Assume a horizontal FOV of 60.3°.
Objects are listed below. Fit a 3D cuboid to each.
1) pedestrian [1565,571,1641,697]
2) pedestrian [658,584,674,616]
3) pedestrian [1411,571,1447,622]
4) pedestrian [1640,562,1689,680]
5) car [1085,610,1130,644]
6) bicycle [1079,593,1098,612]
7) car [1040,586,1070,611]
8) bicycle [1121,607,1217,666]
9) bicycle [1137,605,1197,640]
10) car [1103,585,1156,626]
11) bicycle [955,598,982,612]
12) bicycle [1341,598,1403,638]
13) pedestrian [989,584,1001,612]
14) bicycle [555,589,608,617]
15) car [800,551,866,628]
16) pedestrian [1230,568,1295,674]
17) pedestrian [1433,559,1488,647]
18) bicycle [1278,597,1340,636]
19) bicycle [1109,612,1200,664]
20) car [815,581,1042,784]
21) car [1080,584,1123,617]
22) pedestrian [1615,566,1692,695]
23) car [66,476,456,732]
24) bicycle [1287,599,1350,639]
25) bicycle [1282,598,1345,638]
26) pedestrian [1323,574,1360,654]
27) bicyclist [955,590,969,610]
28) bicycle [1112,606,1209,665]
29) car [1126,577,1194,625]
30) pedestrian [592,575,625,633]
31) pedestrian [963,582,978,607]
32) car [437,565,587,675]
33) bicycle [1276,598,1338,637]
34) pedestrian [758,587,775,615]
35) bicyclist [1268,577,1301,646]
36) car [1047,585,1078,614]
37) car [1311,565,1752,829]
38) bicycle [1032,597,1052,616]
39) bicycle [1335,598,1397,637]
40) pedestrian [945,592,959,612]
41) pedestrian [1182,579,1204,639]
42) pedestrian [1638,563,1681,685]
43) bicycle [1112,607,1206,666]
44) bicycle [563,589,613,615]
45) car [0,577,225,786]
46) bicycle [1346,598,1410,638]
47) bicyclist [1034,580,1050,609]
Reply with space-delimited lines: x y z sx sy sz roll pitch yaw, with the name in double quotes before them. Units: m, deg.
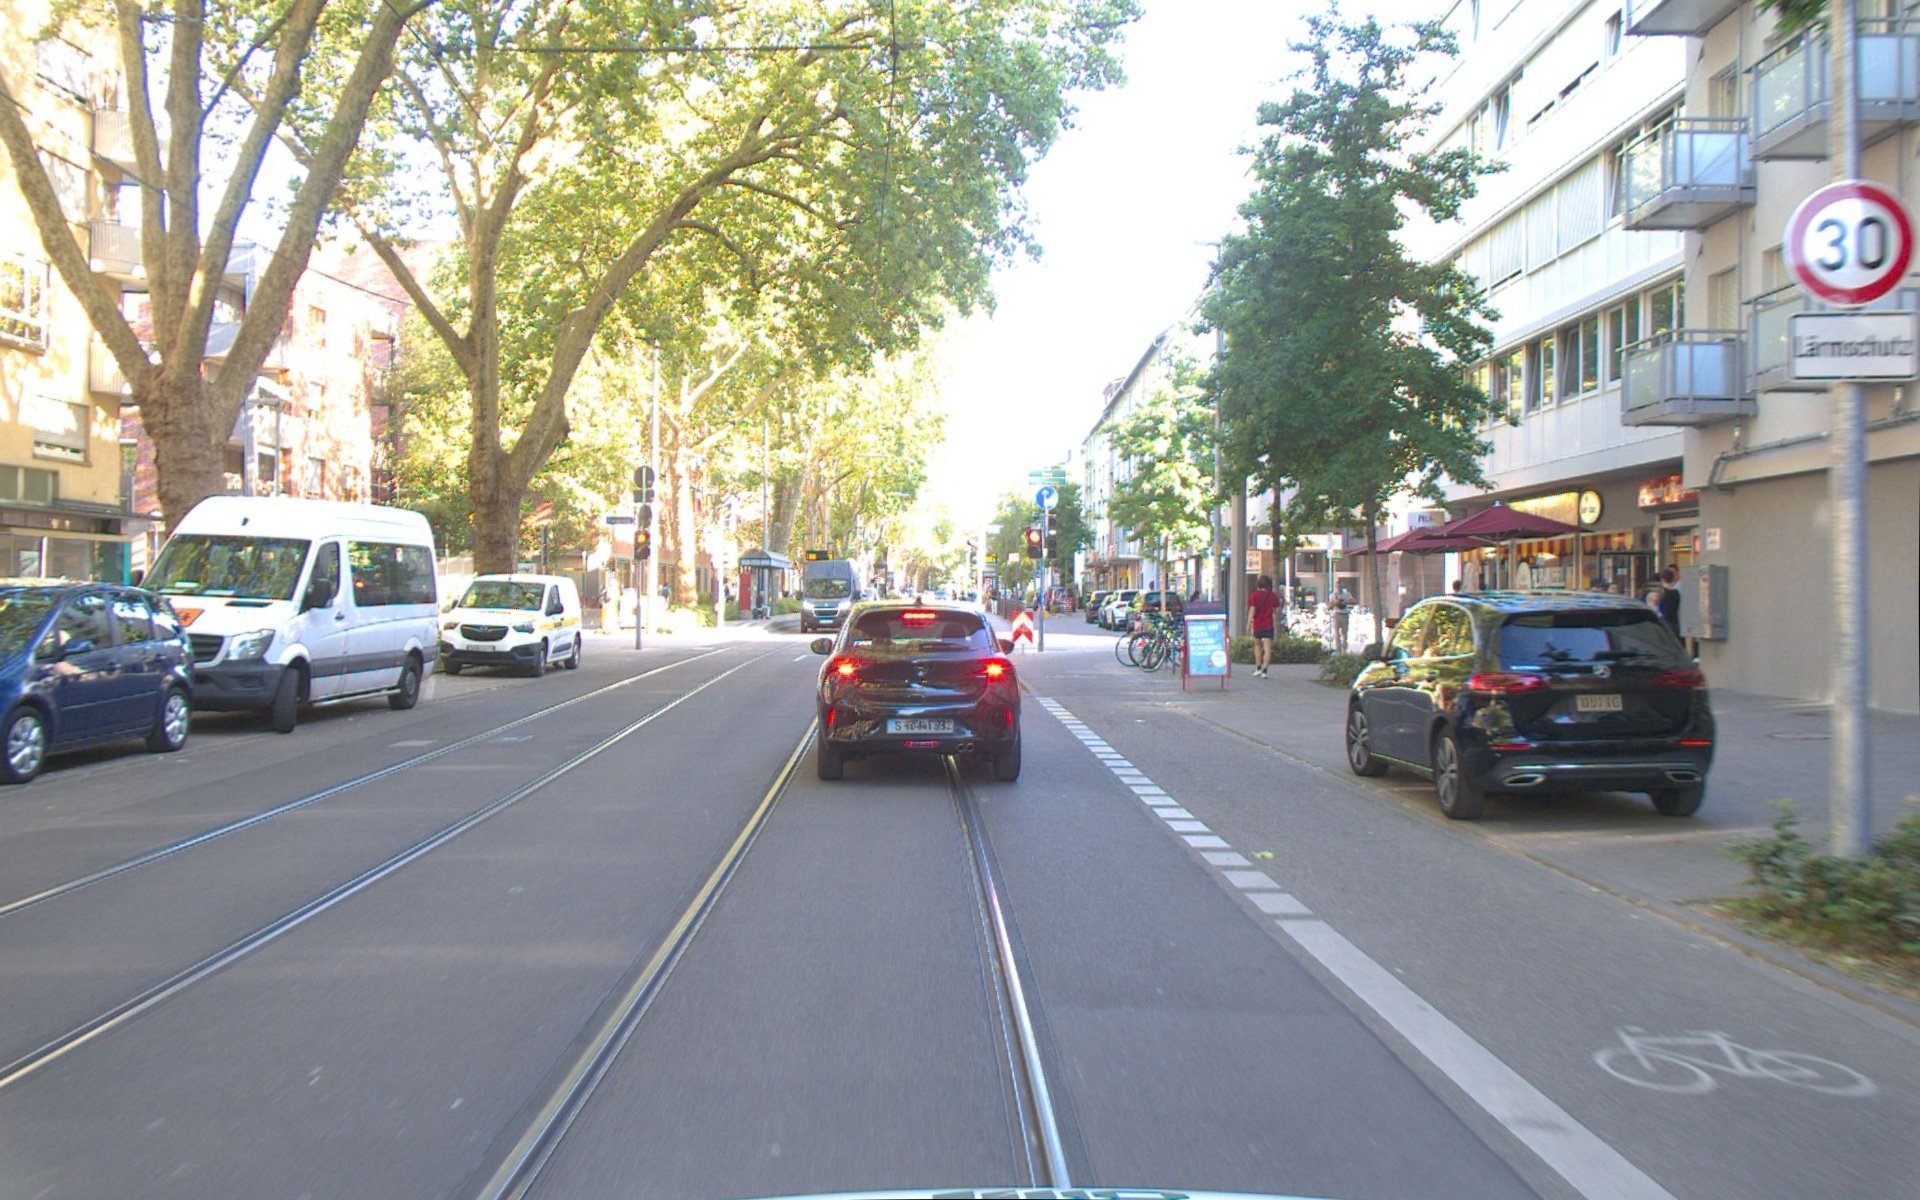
"pedestrian" 8.772 0.456 22.591 0.629 1.666 0.869 -2 0 -2
"pedestrian" -16.055 0.000 90.323 0.720 1.701 0.861 1 0 0
"pedestrian" 10.255 -0.080 36.172 0.629 1.098 0.521 1 0 -2
"pedestrian" 11.158 0.332 26.181 0.518 1.837 0.628 1 -1 43
"car" 6.763 1.218 76.320 1.708 1.465 4.247 1 0 0
"bicycle" 8.182 0.149 105.270 0.610 1.156 2.433 1 0 -11
"car" 7.220 -0.080 126.104 1.953 1.829 3.999 1 0 -1
"bicycle" 4.081 0.711 32.298 1.781 1.119 0.480 1 -1 -9
"bicycle" 7.302 0.793 58.398 2.081 1.208 0.681 1 0 8
"car" 7.048 0.230 69.203 1.762 1.634 4.415 1 0 0
"bicycle" 0.793 0.465 154.986 2.432 1.262 0.957 1 0 -6
"bicycle" 13.262 0.570 53.255 1.876 1.229 0.510 1 -1 -4
"pedestrian" 2.090 -0.117 98.969 0.618 1.603 0.870 3 0 0
"bicycle" -18.411 0.148 80.489 2.408 1.240 0.682 2 0 0
"car" -4.852 -0.376 64.007 2.070 2.786 6.114 -1 0 0
"pedestrian" 5.247 0.351 28.654 0.858 1.789 1.047 1 -1 25
"pedestrian" 9.776 0.064 32.339 0.796 1.688 0.678 1 -1 -9
"bicycle" 11.184 0.519 53.000 1.876 1.229 0.511 0 0 -4
"bicycle" 3.959 0.768 33.704 1.779 1.011 0.481 1 0 -3
"car" -0.301 0.646 14.625 1.724 1.534 3.681 1 0 -2
"car" 7.262 0.038 85.317 1.819 1.644 4.397 1 0 0
"pedestrian" 9.485 0.408 22.639 0.584 1.707 0.934 -2 0 -2
"car" -8.181 0.050 20.206 2.064 2.622 6.024 1 0 1
"bicycle" 11.248 0.585 51.936 1.876 1.228 0.511 0 1 -4
"bicycle" 11.207 0.571 52.466 1.876 1.228 0.511 0 1 -4
"pedestrian" 8.888 0.327 38.579 0.578 1.815 0.995 1 0 -2
"bicyclist" 0.193 -0.009 154.927 1.141 1.779 0.957 1 0 -5
"bicycle" 3.810 0.676 31.508 1.778 1.119 0.525 0 0 -1
"car" 7.429 0.037 61.700 1.953 1.644 4.445 -2 0 0
"pedestrian" -11.593 0.118 54.605 0.905 1.867 0.920 1 2 -4
"pedestrian" 0.766 -0.374 118.175 0.736 1.739 0.761 1 -1 35
"car" -8.300 0.354 30.998 1.727 1.883 4.316 1 0 -2
"bicycle" 11.228 0.559 53.557 1.876 1.229 0.511 0 0 -4
"pedestrian" -8.506 0.047 72.741 0.691 1.189 0.659 -1 0 -3
"bicyclist" 8.340 0.290 42.594 0.663 1.747 0.965 1 0 2
"car" 7.381 -0.042 119.319 1.953 1.986 3.999 1 0 -1
"car" 4.171 0.631 12.894 1.724 1.615 4.327 -3 0 -2
"bicycle" 5.128 0.383 103.389 0.844 1.156 2.393 1 0 -6
"bicycle" 13.228 0.577 53.918 1.876 1.229 0.510 1 -1 -4
"pedestrian" -0.749 0.159 152.206 1.141 1.779 0.957 1 0 -5
"pedestrian" 6.338 0.247 45.012 0.539 1.589 0.645 1 -1 4
"pedestrian" 10.642 0.367 25.167 0.422 1.827 0.489 1 -1 -1
"bicycle" 3.951 0.728 32.894 1.781 1.119 0.497 1 -1 -9
"bicycle" -18.298 0.112 81.352 2.292 1.186 0.682 2 0 0
"car" -8.265 0.608 14.361 1.877 1.589 4.283 1 0 -1
"bicycle" 13.303 0.579 52.643 1.876 1.228 0.511 1 1 -4
"bicyclist" 5.129 -0.360 103.545 0.844 1.790 1.052 1 0 -6
